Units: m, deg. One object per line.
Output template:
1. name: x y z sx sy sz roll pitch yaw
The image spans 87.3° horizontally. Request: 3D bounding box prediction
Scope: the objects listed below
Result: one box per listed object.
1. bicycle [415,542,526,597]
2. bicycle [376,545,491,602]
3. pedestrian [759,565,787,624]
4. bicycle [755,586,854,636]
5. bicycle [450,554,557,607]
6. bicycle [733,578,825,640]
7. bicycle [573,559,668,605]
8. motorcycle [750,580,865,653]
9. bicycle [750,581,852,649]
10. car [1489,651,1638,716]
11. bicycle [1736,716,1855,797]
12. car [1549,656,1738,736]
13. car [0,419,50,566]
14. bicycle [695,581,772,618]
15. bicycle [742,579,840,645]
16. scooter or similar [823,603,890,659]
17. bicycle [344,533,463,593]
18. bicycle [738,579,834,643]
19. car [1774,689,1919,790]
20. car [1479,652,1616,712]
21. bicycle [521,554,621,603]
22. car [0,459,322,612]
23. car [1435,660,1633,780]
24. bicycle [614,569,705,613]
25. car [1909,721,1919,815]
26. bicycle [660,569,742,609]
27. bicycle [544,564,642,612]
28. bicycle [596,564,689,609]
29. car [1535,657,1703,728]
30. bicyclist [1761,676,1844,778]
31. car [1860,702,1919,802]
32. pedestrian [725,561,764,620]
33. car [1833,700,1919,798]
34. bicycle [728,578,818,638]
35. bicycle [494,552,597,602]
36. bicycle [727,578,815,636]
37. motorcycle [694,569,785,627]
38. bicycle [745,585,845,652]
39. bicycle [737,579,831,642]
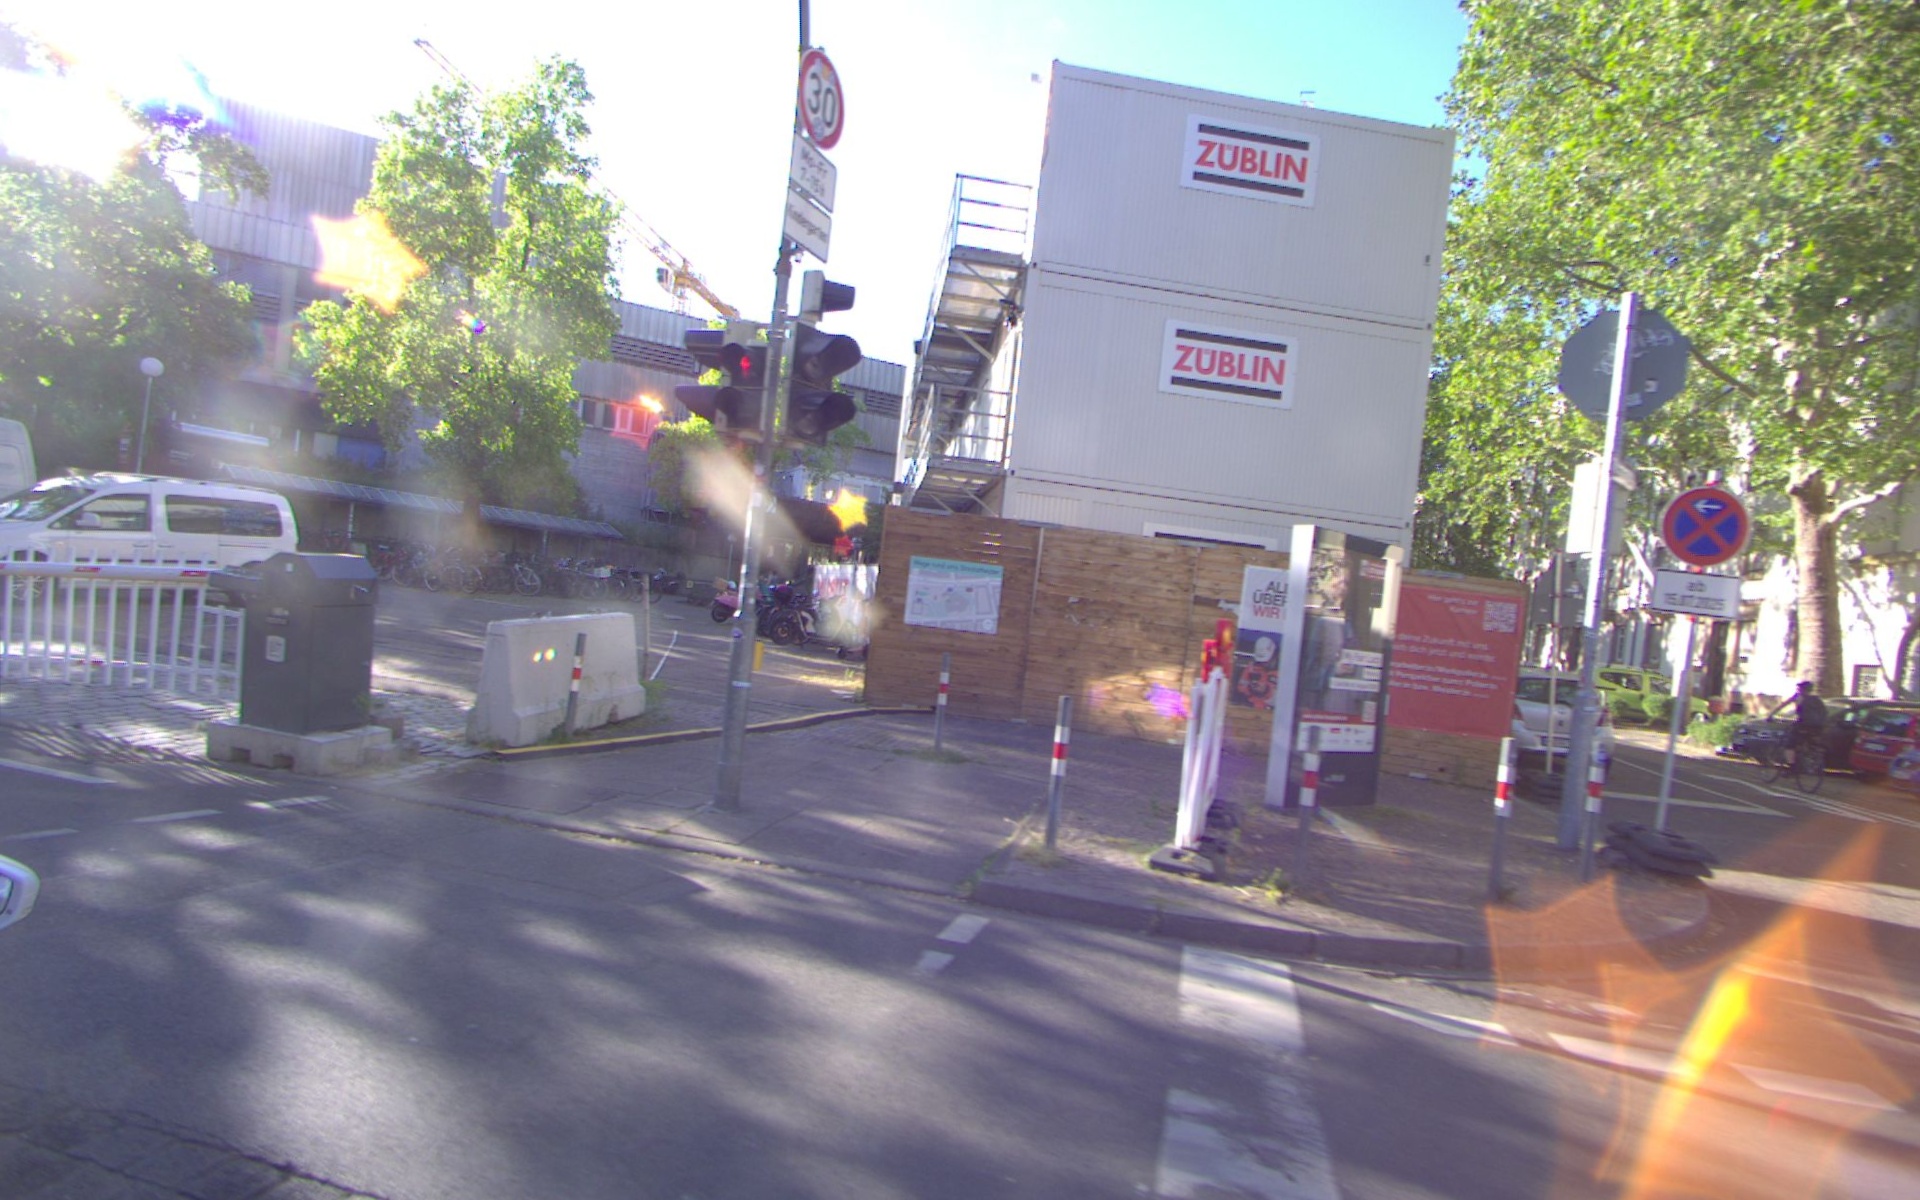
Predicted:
1. bicycle: -13.133 -0.829 26.980 3.033 1.162 0.821 6 1 23
2. bicycle: -13.568 -0.690 25.913 3.033 1.162 0.821 6 1 23
3. pedestrian: -6.827 -0.194 36.742 0.789 2.039 1.028 6 1 -10
4. bicycle: -4.620 0.322 29.825 2.787 1.162 0.821 6 1 23
5. bicycle: -12.693 -0.539 27.956 3.033 1.162 0.821 6 1 23
6. bicycle: -4.370 0.225 24.284 2.022 1.274 0.540 6 1 -24
7. bicycle: -10.904 -0.572 32.300 3.033 1.162 0.821 6 1 23
8. motorcycle: -3.137 0.351 20.777 2.182 1.274 0.540 6 1 -24
9. bicycle: -3.437 0.341 21.832 2.022 1.274 0.468 6 1 -24
10. car: 22.969 3.139 38.427 4.390 1.859 1.729 6 0 13
11. bicycle: 13.781 2.545 16.667 0.679 1.029 1.908 8 0 16
12. car: 21.130 2.936 31.284 4.390 1.859 1.729 6 0 13
13. car: -18.200 -1.940 15.990 1.962 2.566 5.376 6 3 11
14. bicycle: -9.115 -0.018 40.508 3.033 1.162 0.821 6 1 23
15. bicycle: -3.808 0.281 22.734 2.022 1.274 0.468 6 1 -24
16. scooter or similar: -2.014 0.625 19.720 0.379 1.033 1.483 7 1 32
17. bicycle: -13.810 -0.925 24.947 3.033 1.162 0.821 6 1 23
18. bicycle: -4.005 0.266 23.204 2.022 1.274 0.468 6 1 -24
19. car: 19.522 2.952 20.277 4.391 1.692 1.729 6 0 13
20. car: 23.937 3.314 41.148 4.390 1.859 1.729 6 0 13
21. bicycle: -11.747 -0.653 30.382 3.033 1.162 0.821 6 1 23
22. car: -12.378 -0.893 14.686 1.973 1.918 4.942 7 2 19
23. car: 9.289 1.855 16.650 1.617 1.513 4.002 4 -1 12
24. bicycle: -10.180 -0.311 34.063 3.033 1.162 0.821 6 1 23
25. car: 16.441 2.638 13.934 4.391 1.590 1.729 6 0 13
26. bicycle: -9.700 -0.418 37.613 3.033 1.162 0.821 6 1 23
27. bicycle: -11.390 -0.377 31.198 3.033 1.162 0.821 6 1 23
28. bicycle: -10.476 -0.451 33.176 3.033 1.162 0.821 6 1 23
29. car: 22.765 3.163 34.930 4.390 1.859 1.729 6 0 13
30. bicyclist: 13.796 2.064 16.493 0.665 1.532 0.669 8 1 16
31. car: 17.672 2.720 16.153 4.391 1.519 1.729 6 0 13
32. pedestrian: -7.888 -0.334 36.827 0.789 2.039 0.938 6 1 25
33. car: 19.026 2.939 18.249 4.391 1.590 1.729 6 0 13
34. bicycle: -4.601 0.209 24.837 2.022 1.274 0.540 6 1 -24
35. bicycle: -12.128 -0.677 29.419 3.033 1.162 0.821 6 1 23
36. bicycle: -4.771 0.181 25.406 2.022 1.274 0.540 6 1 -24
37. motorcycle: -5.755 -0.050 26.289 2.182 1.274 0.540 6 1 -24
38. bicycle: -3.651 0.420 22.278 2.022 1.274 0.468 6 1 -24
39. bicycle: -4.142 0.250 23.740 2.022 1.274 0.540 6 1 -24
